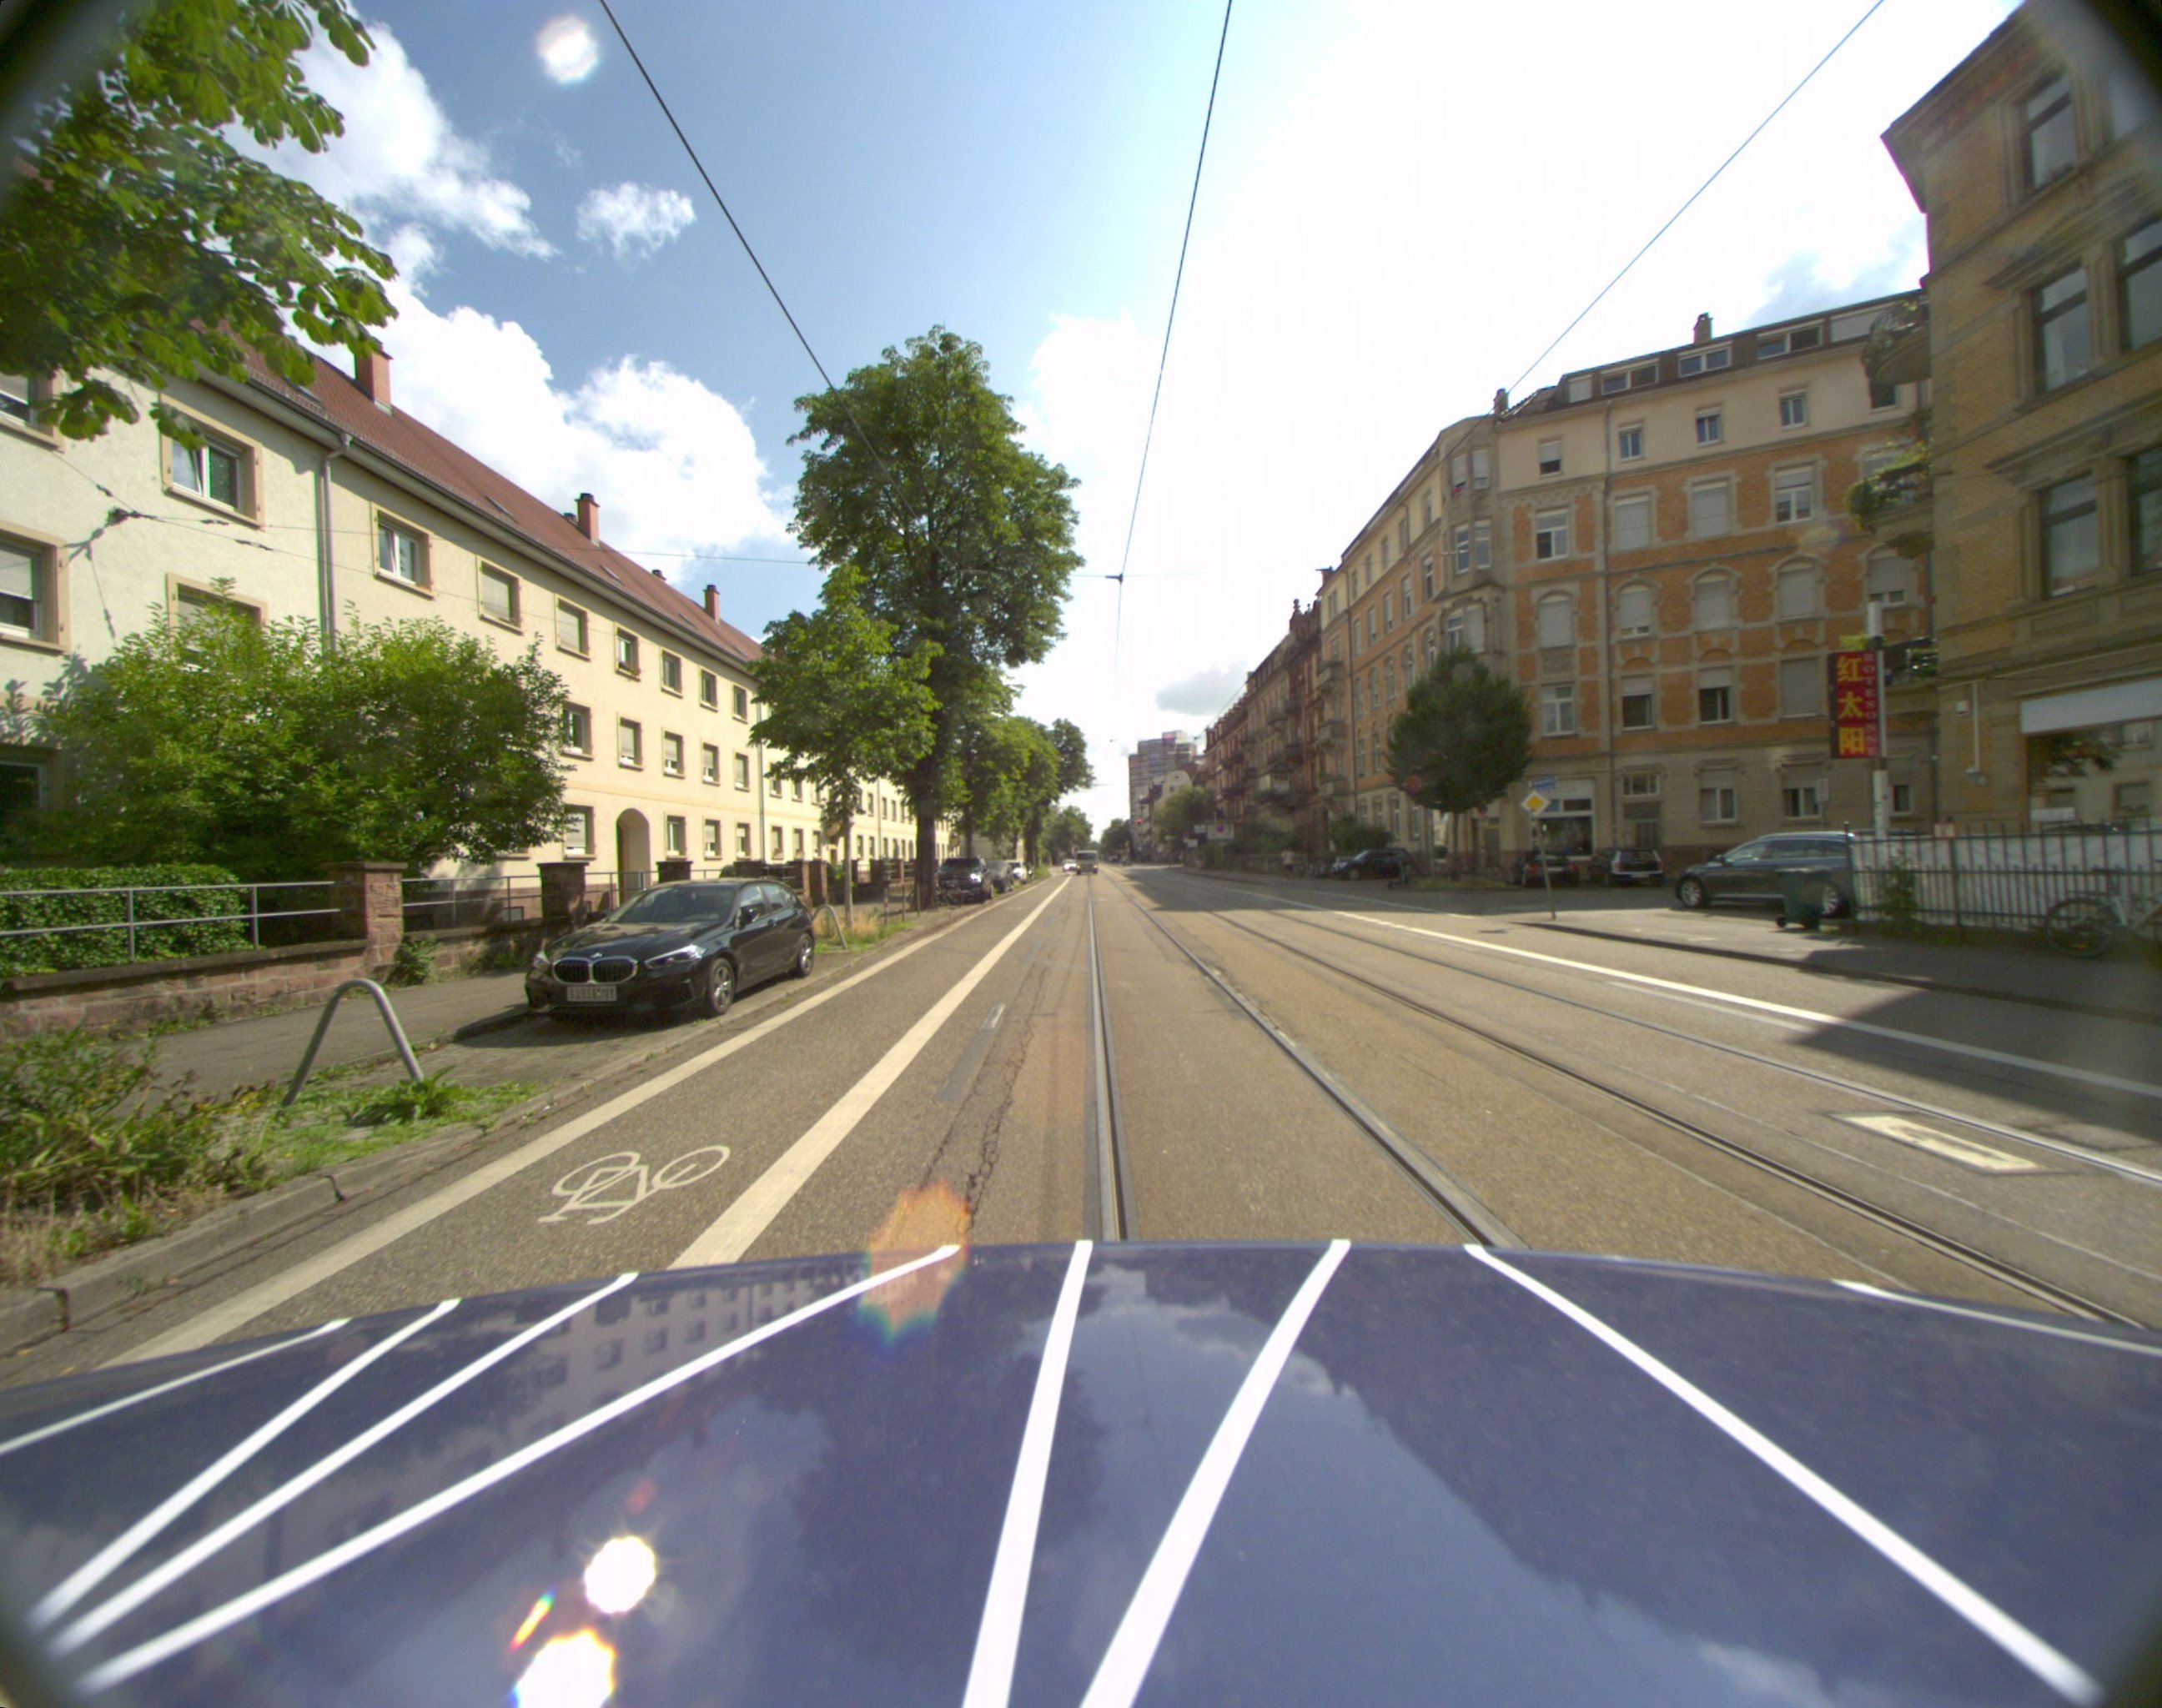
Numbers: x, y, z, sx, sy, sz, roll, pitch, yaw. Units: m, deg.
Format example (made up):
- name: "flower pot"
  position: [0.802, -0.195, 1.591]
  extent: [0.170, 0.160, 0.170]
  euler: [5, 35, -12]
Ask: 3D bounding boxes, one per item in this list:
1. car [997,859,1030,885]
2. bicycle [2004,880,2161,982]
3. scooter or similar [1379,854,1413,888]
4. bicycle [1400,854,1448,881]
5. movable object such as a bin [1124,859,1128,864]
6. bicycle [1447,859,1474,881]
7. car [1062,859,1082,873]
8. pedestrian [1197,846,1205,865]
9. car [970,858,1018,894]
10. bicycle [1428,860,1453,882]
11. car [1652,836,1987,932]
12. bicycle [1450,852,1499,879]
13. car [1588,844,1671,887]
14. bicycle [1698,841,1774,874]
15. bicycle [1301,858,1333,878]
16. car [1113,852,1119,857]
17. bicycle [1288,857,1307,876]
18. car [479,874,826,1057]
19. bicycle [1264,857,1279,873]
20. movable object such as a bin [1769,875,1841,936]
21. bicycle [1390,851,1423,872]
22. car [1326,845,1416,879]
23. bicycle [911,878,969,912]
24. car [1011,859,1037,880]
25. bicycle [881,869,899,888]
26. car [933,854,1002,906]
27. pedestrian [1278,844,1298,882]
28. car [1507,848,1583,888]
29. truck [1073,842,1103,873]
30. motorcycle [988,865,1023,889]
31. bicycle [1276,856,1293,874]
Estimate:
- name: "car"
  position: [-4.356, 1.146, 49.884]
  extent: [1.746, 1.571, 4.248]
  euler: [-2, 0, 0]
- name: "bicycle"
  position: [10.859, 0.781, 7.734]
  extent: [0.531, 0.941, 1.968]
  euler: [-2, 0, 0]
- name: "scooter or similar"
  position: [12.239, 0.668, 29.548]
  extent: [1.367, 1.228, 0.403]
  euler: [-3, 1, -28]
- name: "bicycle"
  position: [14.486, 0.561, 32.095]
  extent: [1.759, 1.057, 0.524]
  euler: [-2, 0, -5]
- name: "movable object such as a bin"
  position: [7.167, 1.176, 120.417]
  extent: [0.513, 0.713, 0.457]
  euler: [-2, 0, -13]
- name: "bicycle"
  position: [14.818, 0.622, 29.705]
  extent: [0.524, 0.833, 1.700]
  euler: [-2, -1, 14]
- name: "car"
  position: [-1.062, 1.403, 91.029]
  extent: [1.752, 1.471, 3.651]
  euler: [-4, 0, -9]
- name: "pedestrian"
  position: [11.063, 0.143, 69.884]
  extent: [0.489, 1.693, 1.151]
  euler: [-2, 0, -2]
- name: "car"
  position: [-4.358, 1.062, 38.756]
  extent: [1.867, 1.643, 4.637]
  euler: [-2, 0, 0]
- name: "bicycle"
  position: [14.288, 0.681, 30.212]
  extent: [0.524, 0.833, 1.700]
  euler: [-2, -1, 14]
- name: "car"
  position: [13.359, 0.462, 14.285]
  extent: [1.689, 1.451, 4.764]
  euler: [-2, 0, 1]
- name: "bicycle"
  position: [16.340, 0.471, 31.577]
  extent: [1.695, 1.057, 0.525]
  euler: [-2, 0, 11]
- name: "car"
  position: [19.820, 0.381, 27.611]
  extent: [1.641, 1.407, 3.794]
  euler: [-2, 0, 23]
- name: "bicycle"
  position: [25.712, 0.150, 29.869]
  extent: [2.177, 1.202, 0.625]
  euler: [-2, 0, 18]
- name: "bicycle"
  position: [11.764, 0.687, 37.914]
  extent: [1.456, 0.971, 0.404]
  euler: [-2, 0, 0]
- name: "car"
  position: [10.883, 0.268, 237.662]
  extent: [1.841, 1.482, 3.892]
  euler: [-2, 0, 0]
- name: "bicycle"
  position: [11.458, 0.633, 40.347]
  extent: [0.422, 0.971, 1.949]
  euler: [-2, 0, 0]
- name: "car"
  position: [-4.722, 1.103, 9.232]
  extent: [1.710, 1.470, 4.196]
  euler: [-4, 0, 0]
- name: "bicycle"
  position: [11.614, 0.638, 46.334]
  extent: [0.422, 0.927, 1.949]
  euler: [-2, 0, 0]
- name: "movable object such as a bin"
  position: [11.462, 0.803, 12.045]
  extent: [0.526, 0.900, 0.636]
  euler: [-2, 0, -1]
- name: "bicycle"
  position: [16.451, 0.379, 38.372]
  extent: [1.456, 0.971, 0.404]
  euler: [-2, 0, 0]
- name: "car"
  position: [13.789, 0.385, 36.300]
  extent: [3.611, 1.394, 1.787]
  euler: [-3, 0, 5]
- name: "bicycle"
  position: [-4.470, 1.287, 24.167]
  extent: [1.712, 1.001, 0.638]
  euler: [-2, 0, 1]
- name: "car"
  position: [-4.340, 1.151, 58.465]
  extent: [1.665, 1.512, 4.287]
  euler: [-2, 0, 0]
- name: "bicycle"
  position: [-10.666, 1.353, 42.430]
  extent: [0.539, 0.958, 1.679]
  euler: [-2, 0, 1]
- name: "car"
  position: [-4.220, 0.917, 28.892]
  extent: [1.832, 1.772, 4.733]
  euler: [-2, 0, 0]
- name: "pedestrian"
  position: [9.954, 0.432, 36.550]
  extent: [0.534, 1.750, 1.105]
  euler: [-4, 0, 0]
- name: "car"
  position: [17.430, 0.487, 28.718]
  extent: [1.641, 1.352, 3.932]
  euler: [-2, 0, 19]
- name: "truck"
  position: [0.604, 0.308, 72.102]
  extent: [2.532, 2.722, 6.514]
  euler: [-2, 0, -1]
- name: "motorcycle"
  position: [-4.557, 1.360, 45.684]
  extent: [2.012, 1.329, 0.747]
  euler: [-2, 1, -3]
- name: "bicycle"
  position: [11.373, 0.621, 42.534]
  extent: [0.422, 0.971, 1.949]
  euler: [-2, 0, 0]
